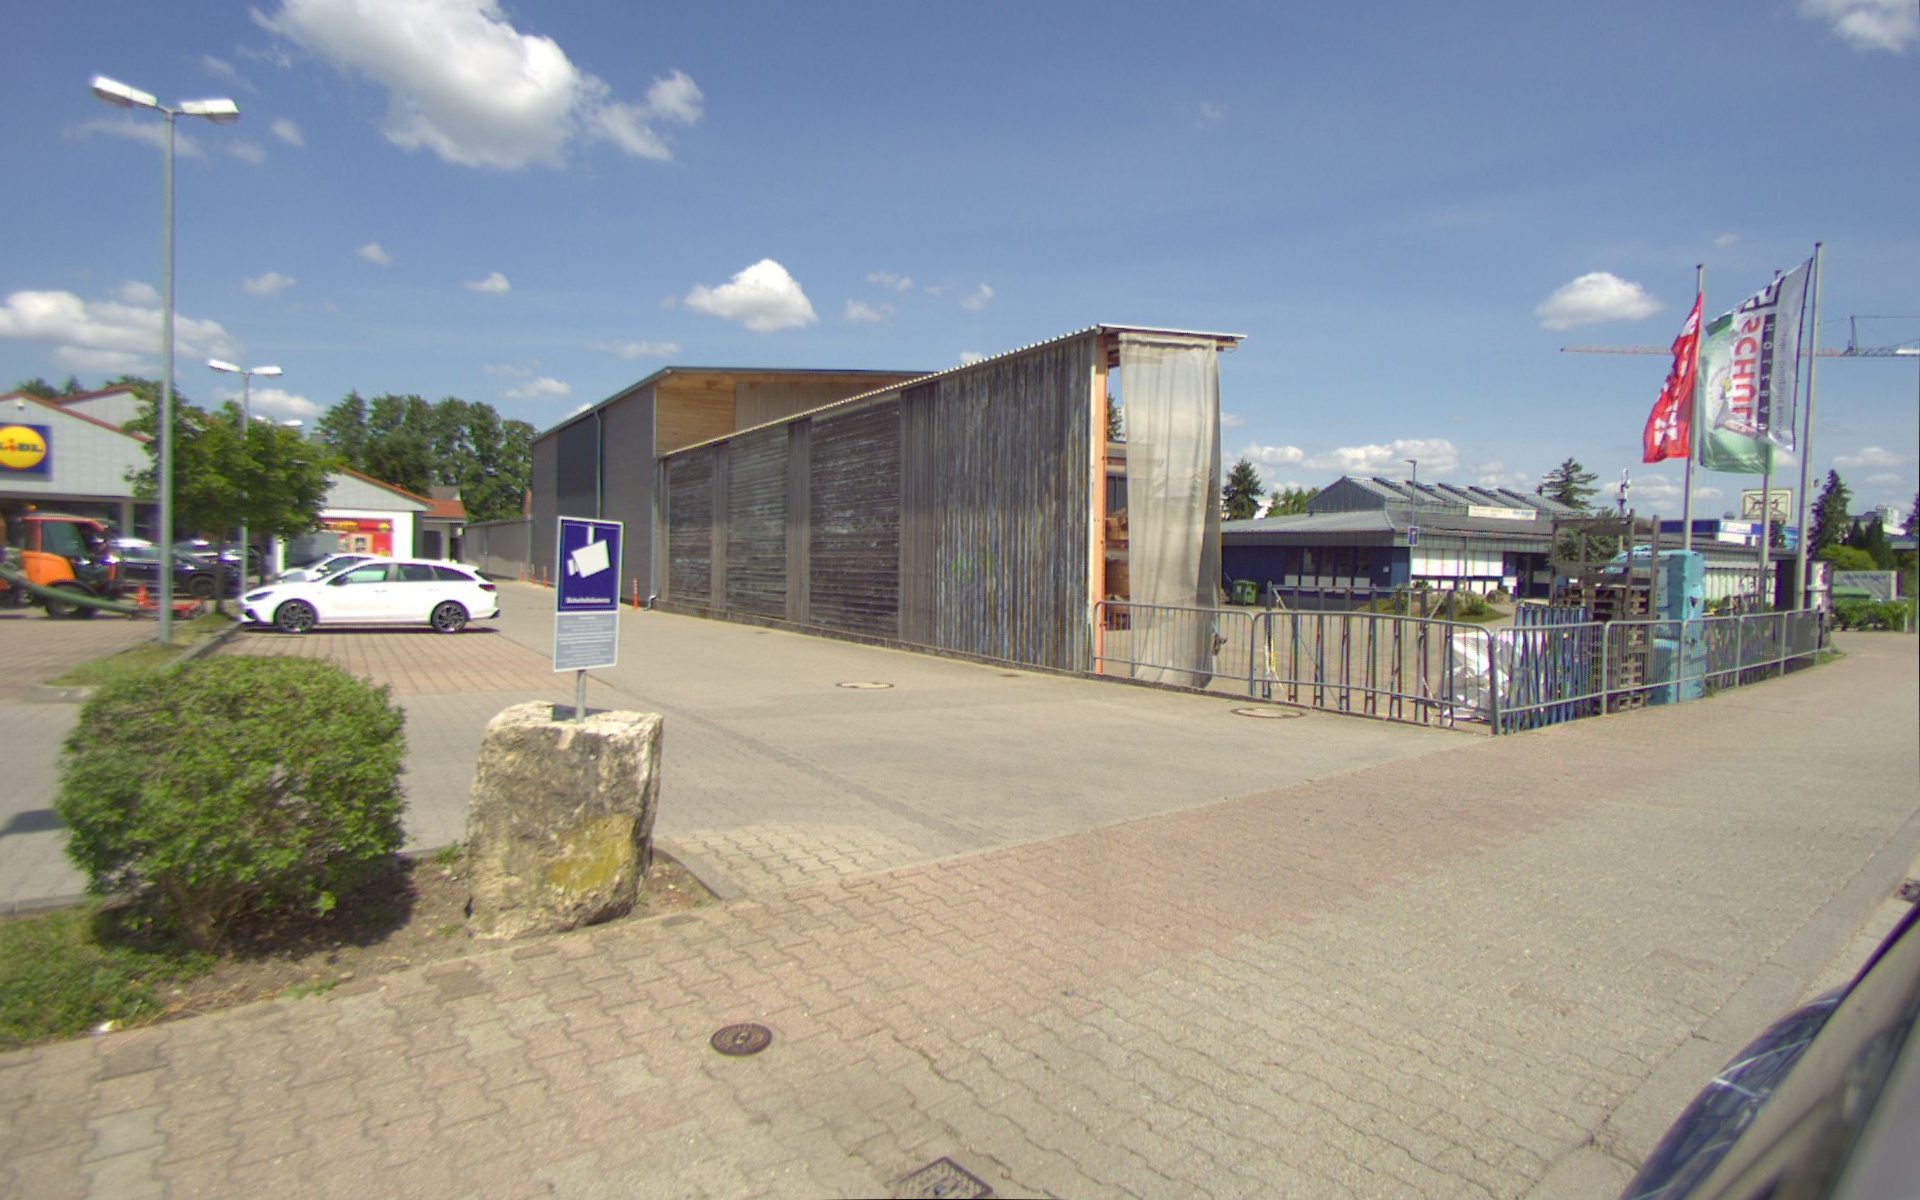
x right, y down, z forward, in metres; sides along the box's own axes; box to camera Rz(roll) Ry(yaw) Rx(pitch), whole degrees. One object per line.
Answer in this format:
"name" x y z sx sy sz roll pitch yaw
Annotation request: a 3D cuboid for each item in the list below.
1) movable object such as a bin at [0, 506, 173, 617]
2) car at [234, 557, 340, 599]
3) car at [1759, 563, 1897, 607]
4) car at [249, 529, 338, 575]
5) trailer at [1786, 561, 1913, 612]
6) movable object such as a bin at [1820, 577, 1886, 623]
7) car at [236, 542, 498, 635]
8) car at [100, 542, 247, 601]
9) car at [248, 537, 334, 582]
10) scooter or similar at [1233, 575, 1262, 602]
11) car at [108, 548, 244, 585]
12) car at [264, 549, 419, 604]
"movable object such as a bin" -19.466 -0.820 21.234 4.429 2.231 1.689 1 3 -28
"car" -22.630 -0.742 34.075 2.762 1.325 1.494 -1 2 -45
"car" 36.497 -0.676 42.636 1.771 1.653 4.219 -3 5 -42
"car" -24.164 -1.732 36.707 2.623 1.586 1.225 0 3 -38
"trailer" 39.150 -0.591 44.594 1.965 2.039 3.993 4 -2 -42
"movable object such as a bin" 28.978 -0.009 32.868 1.247 1.476 1.046 0 0 11
"car" -11.852 -0.216 20.395 4.352 1.682 2.001 1 1 -34
"car" -23.374 -0.885 30.225 3.275 1.631 1.513 -3 4 -32
"car" -25.926 -1.564 39.295 2.651 1.707 1.301 0 3 -29
"scooter or similar" 15.214 -0.621 53.526 0.907 1.337 1.116 -2 4 -31
"car" -28.984 -1.243 37.543 3.710 1.187 1.618 1 3 -26
"car" -18.871 -0.707 30.950 3.926 1.593 1.585 0 2 -37
